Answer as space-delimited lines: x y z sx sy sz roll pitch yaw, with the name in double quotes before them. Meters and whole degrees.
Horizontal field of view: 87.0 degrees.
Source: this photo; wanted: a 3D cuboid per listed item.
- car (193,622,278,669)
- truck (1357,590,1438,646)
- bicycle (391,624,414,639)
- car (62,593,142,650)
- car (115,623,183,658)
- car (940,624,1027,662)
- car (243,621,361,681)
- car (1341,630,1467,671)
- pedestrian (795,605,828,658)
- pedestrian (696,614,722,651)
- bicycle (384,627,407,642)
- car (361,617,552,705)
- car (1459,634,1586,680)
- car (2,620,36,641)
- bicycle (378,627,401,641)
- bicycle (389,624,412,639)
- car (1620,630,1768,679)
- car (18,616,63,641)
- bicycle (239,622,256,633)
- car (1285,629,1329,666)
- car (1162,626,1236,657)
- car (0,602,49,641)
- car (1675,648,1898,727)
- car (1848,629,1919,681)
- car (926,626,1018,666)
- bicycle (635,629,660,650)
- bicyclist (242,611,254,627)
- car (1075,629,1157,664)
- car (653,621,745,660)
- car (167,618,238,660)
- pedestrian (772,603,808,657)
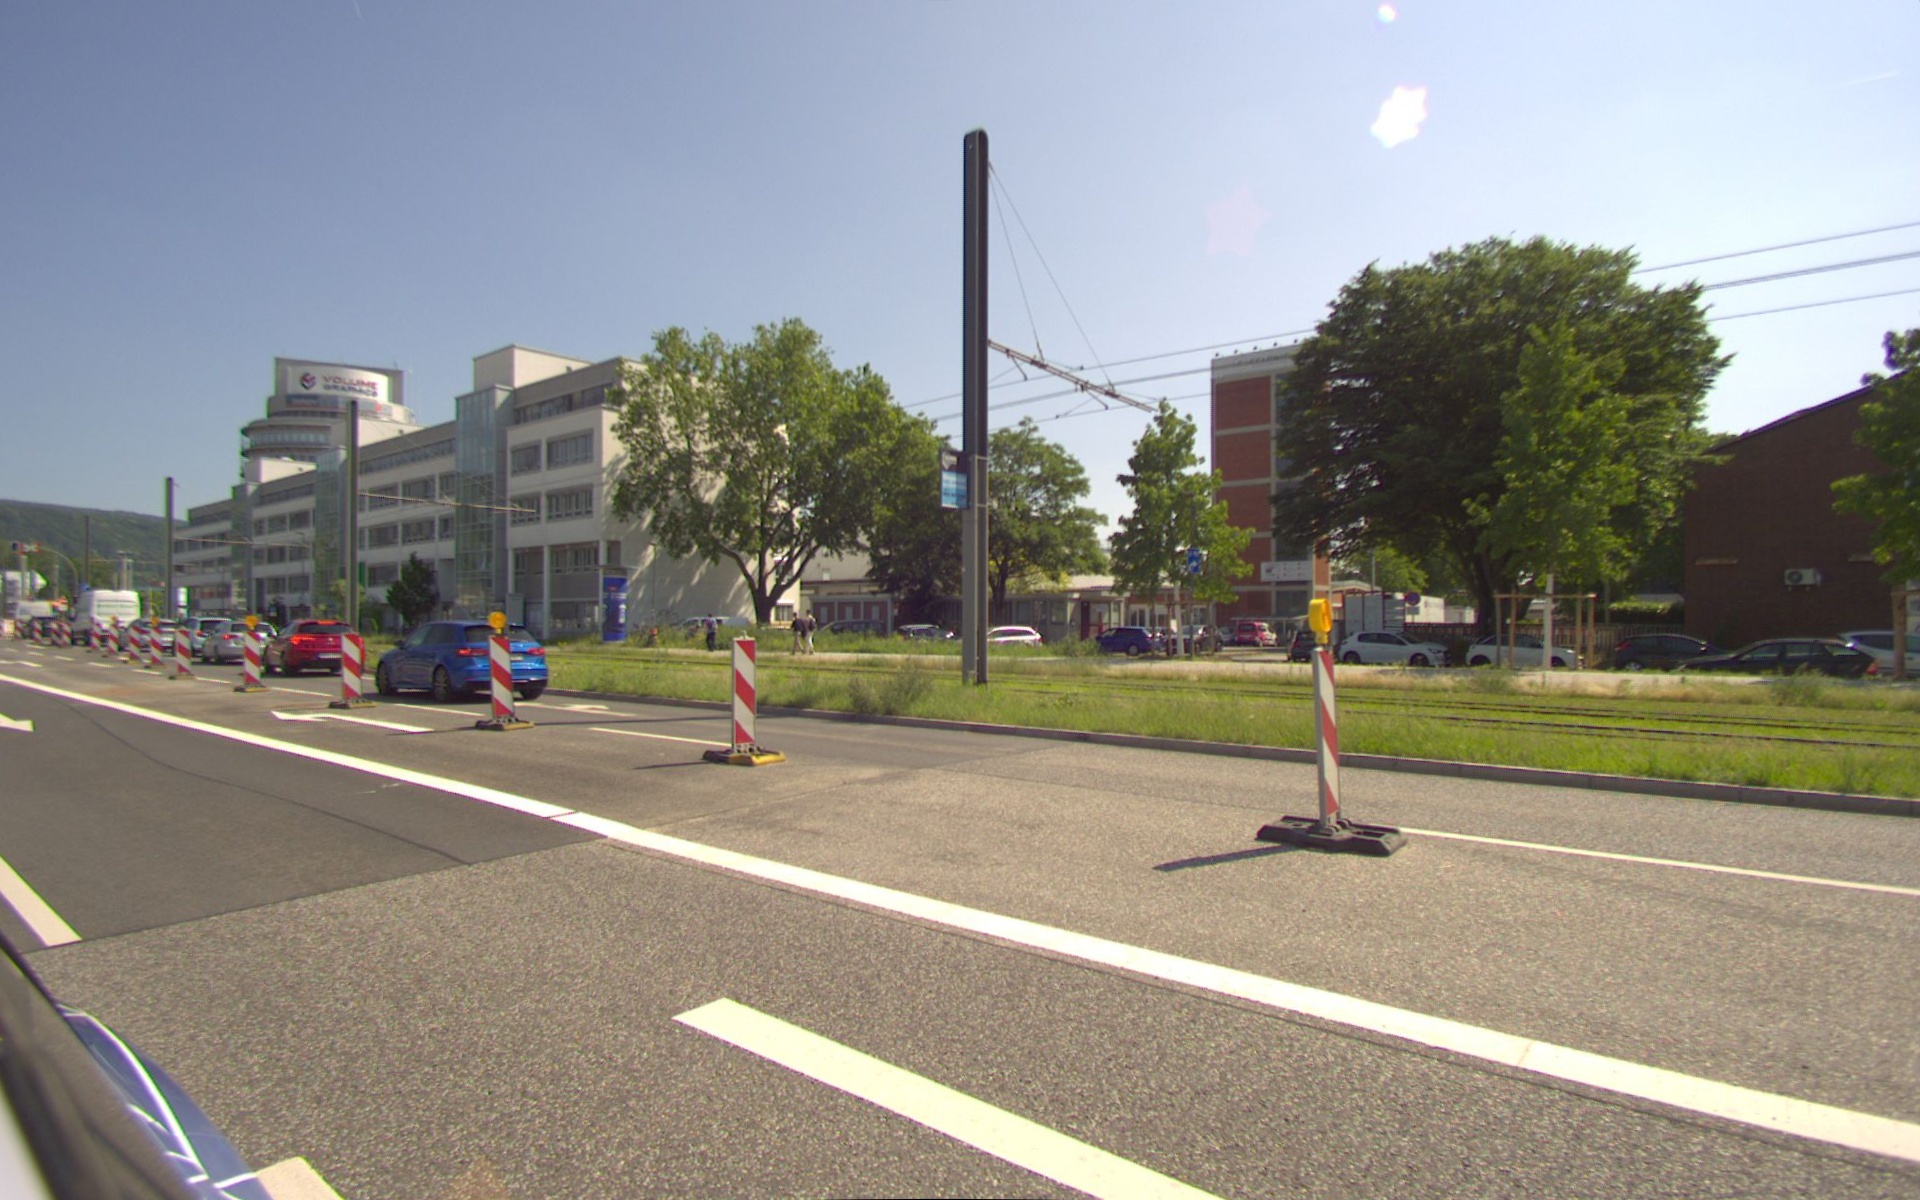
"car" -23.922 1.463 33.361 4.298 1.427 1.562 -1 -2 45
"truck" 36.669 1.379 84.438 2.886 4.112 12.479 -1 0 39
"bicycle" -47.126 2.680 85.603 0.438 1.198 1.630 -1 0 40
"car" -43.761 1.096 51.560 5.982 2.761 2.056 -1 -3 40
"car" -35.432 1.749 44.169 4.468 1.454 1.655 -1 -3 43
"car" 1.049 1.964 46.510 3.629 1.603 1.752 -1 0 35
"car" -17.387 1.297 26.670 3.997 1.427 1.563 -1 -2 41
"car" 17.281 1.941 39.506 4.264 1.468 1.523 -2 -1 40
"pedestrian" -5.872 1.232 39.945 0.983 2.029 0.830 -1 -1 43
"pedestrian" -10.907 1.411 44.017 0.805 1.588 0.827 1 -2 -45
"bicycle" -48.677 2.949 87.236 1.627 1.198 0.438 -1 0 -45
"car" -9.321 1.059 18.587 4.288 1.438 1.611 -1 -2 41
"car" 19.886 1.988 35.846 3.780 1.468 1.524 -1 -1 36
"car" -73.901 2.403 79.436 3.977 1.553 1.563 -1 -4 43
"bicycle" -49.749 2.958 88.216 1.627 1.198 0.522 -1 0 -45
"bicycle" -47.632 2.656 86.178 0.438 1.198 1.629 -1 0 41
"car" 23.665 1.729 32.731 3.781 1.468 1.524 -1 -1 37
"car" -57.181 1.781 62.918 4.190 1.468 1.529 -1 -3 41
"bicycle" -70.376 2.684 100.018 2.830 1.025 0.746 0 0 41
"car" 15.253 2.041 44.396 1.533 1.468 3.723 -1 -1 23
"car" 12.304 2.103 52.169 3.342 1.464 1.522 -1 0 39
"car" -67.143 1.545 72.502 6.192 2.598 2.009 -1 -4 42
"car" 22.081 2.272 27.226 4.528 1.774 1.681 0 0 40
"car" 28.239 1.574 29.243 3.785 1.468 1.523 -2 -1 40
"car" 0.492 1.954 43.951 3.629 1.603 1.752 -1 0 35
"bicycle" -15.480 1.961 50.129 1.557 0.993 0.455 -1 -1 43
"bicyclist" -70.354 1.840 99.994 1.076 1.551 0.746 0 0 41
"car" 7.759 2.284 50.436 3.629 1.603 1.752 -1 0 35
"car" -15.333 2.359 59.540 4.988 2.196 2.121 0 -1 -23
"car" -29.536 1.506 39.436 3.621 1.542 1.562 -1 -3 44
"pedestrian" -6.576 1.149 39.178 0.910 2.029 0.972 -1 0 43
